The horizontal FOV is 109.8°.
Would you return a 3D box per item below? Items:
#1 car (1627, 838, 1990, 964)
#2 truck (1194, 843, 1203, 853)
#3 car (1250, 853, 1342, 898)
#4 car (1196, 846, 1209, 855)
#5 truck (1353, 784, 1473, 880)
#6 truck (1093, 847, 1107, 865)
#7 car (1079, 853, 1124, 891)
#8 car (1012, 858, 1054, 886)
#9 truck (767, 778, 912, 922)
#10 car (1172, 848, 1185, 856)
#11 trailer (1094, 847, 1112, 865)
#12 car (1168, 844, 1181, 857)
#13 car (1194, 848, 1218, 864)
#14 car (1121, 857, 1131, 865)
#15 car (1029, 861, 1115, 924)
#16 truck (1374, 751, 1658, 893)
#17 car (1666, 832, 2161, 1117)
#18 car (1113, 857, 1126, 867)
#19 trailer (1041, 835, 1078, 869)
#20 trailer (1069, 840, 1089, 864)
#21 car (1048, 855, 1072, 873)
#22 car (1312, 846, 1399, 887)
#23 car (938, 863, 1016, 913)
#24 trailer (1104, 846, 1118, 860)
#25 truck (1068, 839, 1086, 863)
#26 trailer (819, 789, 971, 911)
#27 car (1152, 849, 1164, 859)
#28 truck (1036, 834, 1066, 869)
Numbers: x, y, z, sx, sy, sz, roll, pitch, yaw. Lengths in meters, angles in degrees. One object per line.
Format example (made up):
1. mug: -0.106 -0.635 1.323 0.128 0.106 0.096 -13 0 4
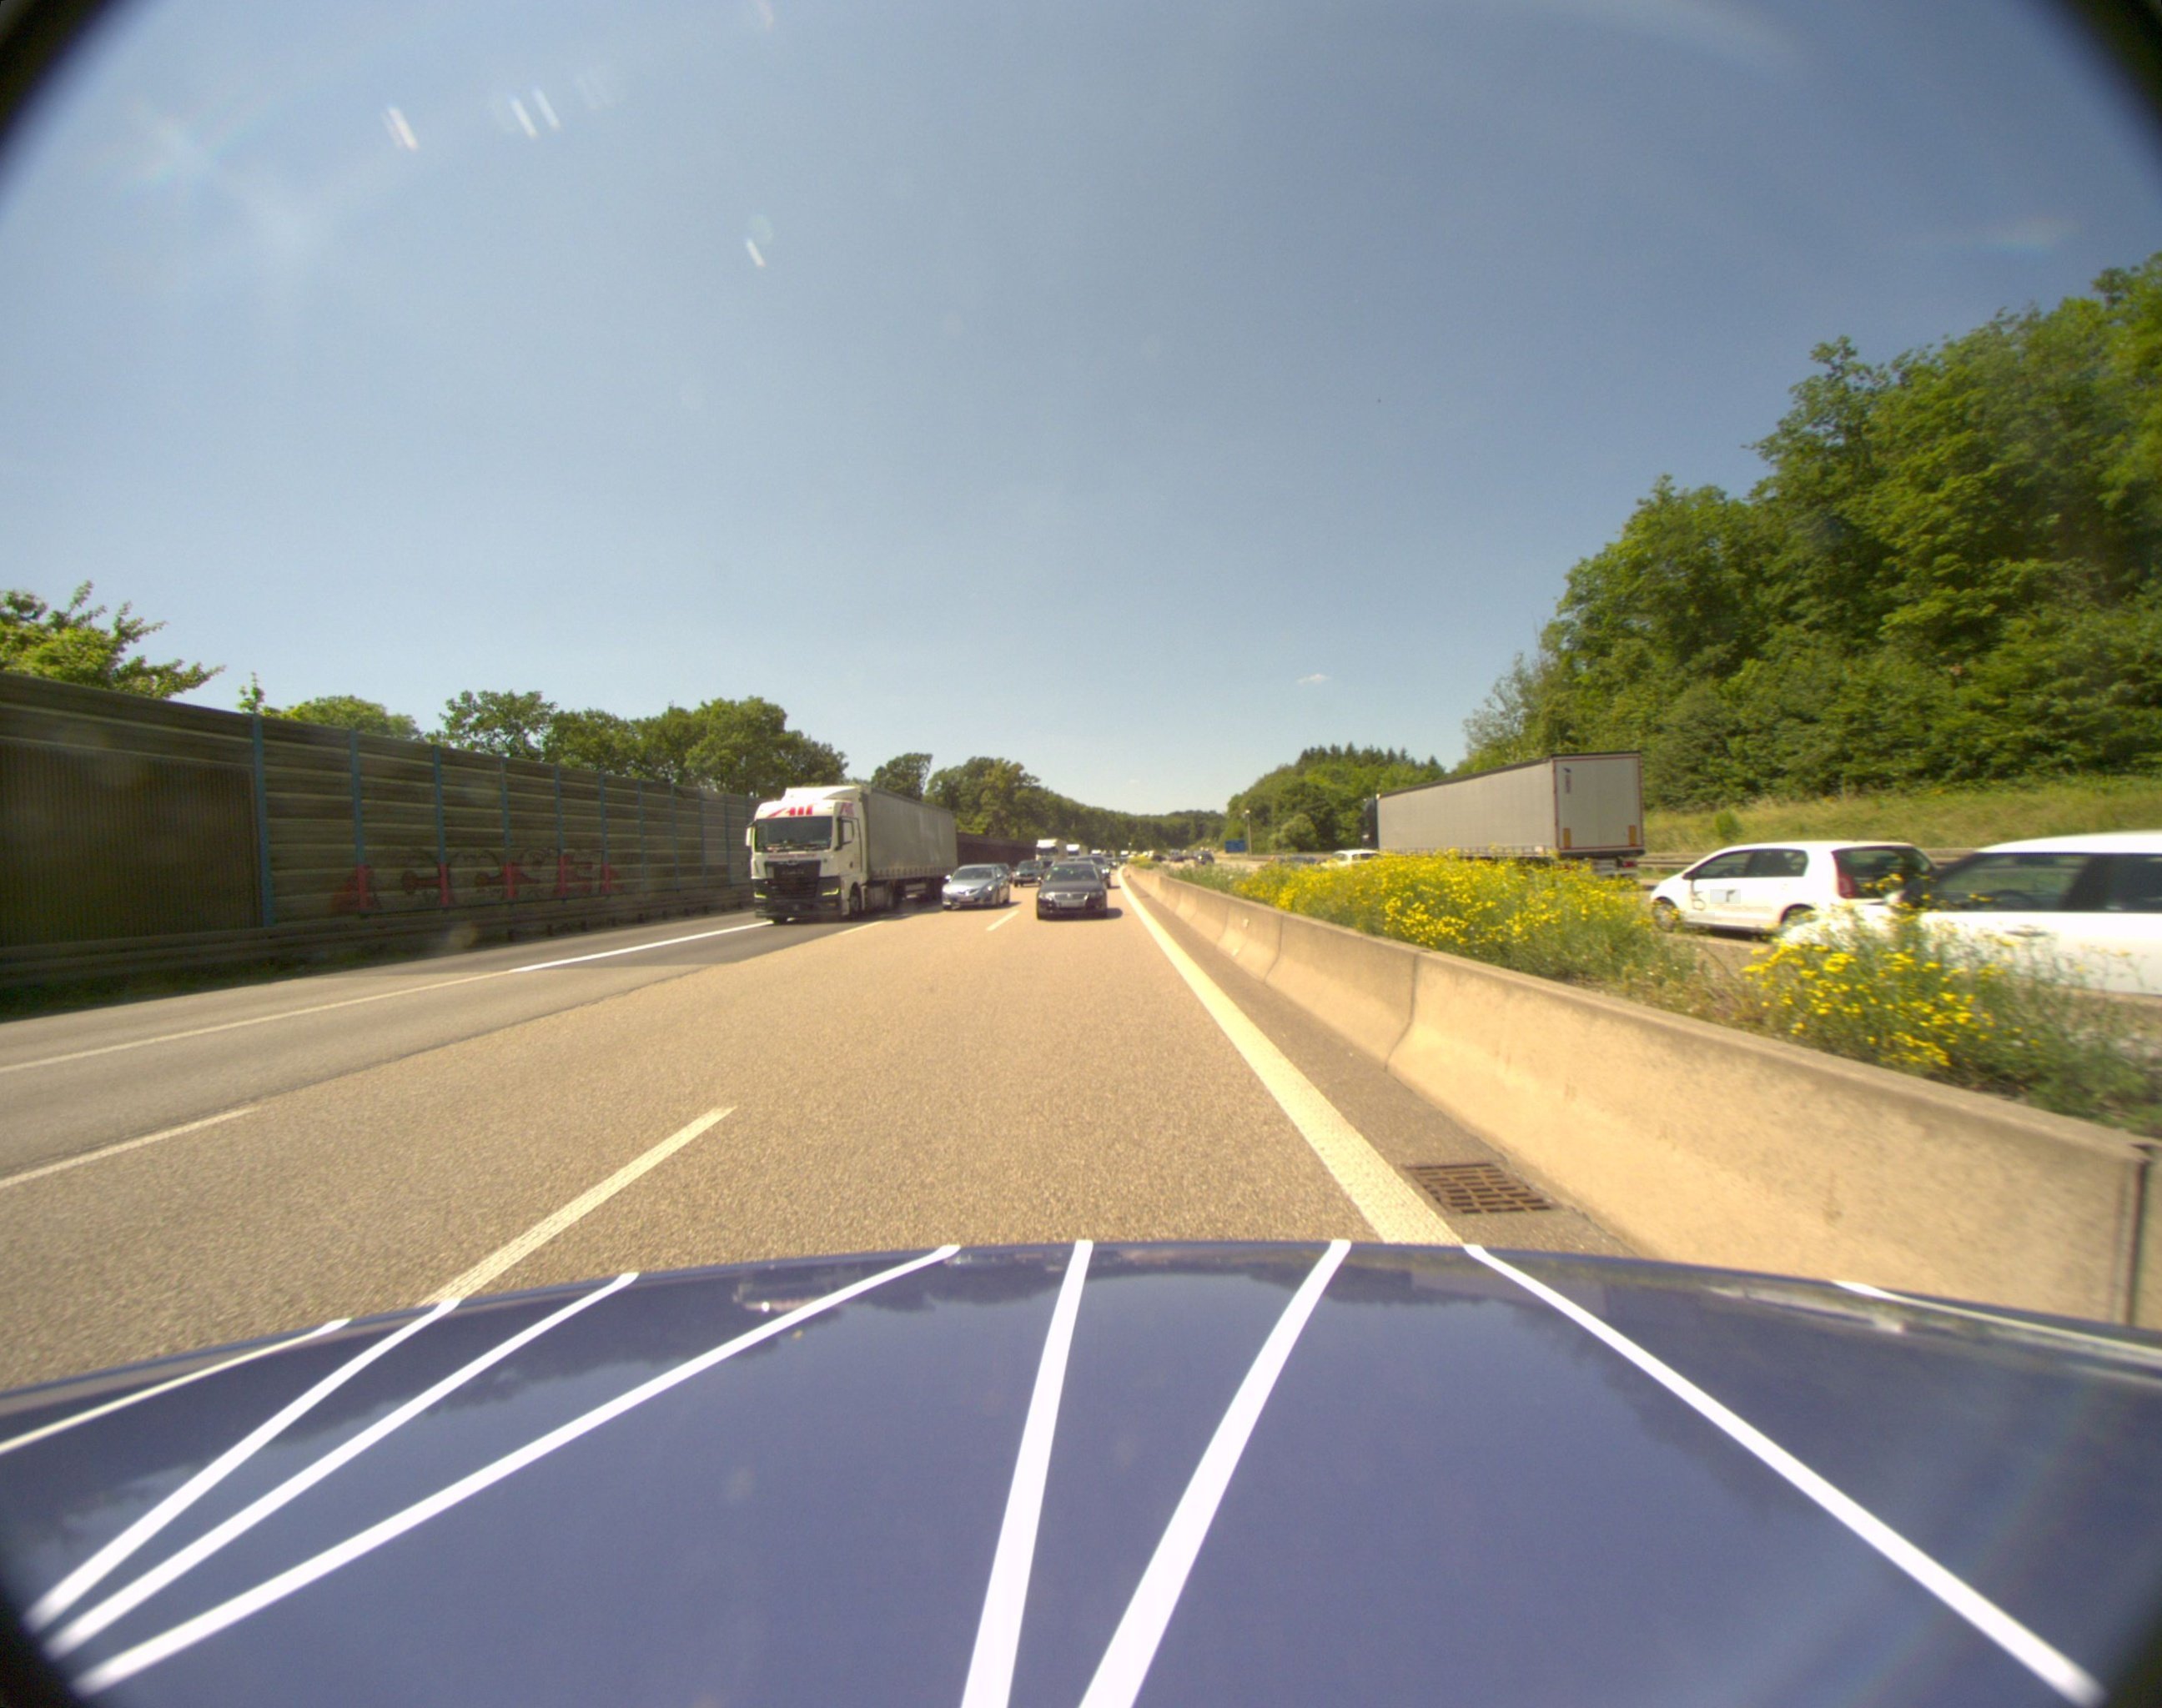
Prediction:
1. car: 10.334 0.580 11.281 1.679 1.489 3.882 -2 0 1
2. truck: 40.719 -2.091 263.160 2.741 3.454 7.318 -2 0 7
3. car: 7.255 0.671 26.119 1.998 1.333 4.247 -2 0 1
4. car: 21.534 -0.548 134.875 1.844 1.444 4.001 -2 0 2
5. truck: 15.028 -0.920 34.934 2.836 3.916 6.007 -2 0 1
6. truck: 4.732 0.489 191.046 2.852 4.381 5.242 -2 0 8
7. car: 1.041 0.834 36.712 1.998 1.641 4.000 -2 0 2
8. car: -2.788 1.041 45.228 1.907 1.550 4.001 -2 0 4
9. truck: -7.592 -0.127 24.721 2.604 4.066 5.553 -2 1 2
10. car: 17.864 -0.419 139.375 1.817 1.393 4.272 -2 0 2
11. trailer: 5.824 0.481 198.795 2.852 4.391 13.035 -2 0 8
12. car: 20.614 -0.803 167.533 2.221 2.685 6.063 -2 0 3
13. car: 13.781 0.172 83.813 1.998 1.618 4.474 -2 0 2
14. car: 10.225 1.645 172.041 1.997 1.641 4.002 -2 0 6
15. car: -0.138 0.953 20.285 1.907 1.410 4.001 -2 0 4
16. truck: 14.896 -0.910 28.269 2.836 3.916 13.745 -2 0 1
17. car: 6.731 0.623 5.157 1.943 1.494 4.659 -2 0 1
18. car: 7.215 1.475 141.513 1.997 1.641 4.002 -2 0 6
19. trailer: -2.827 -0.289 104.134 2.820 4.190 13.472 -2 0 7
20. trailer: -0.275 -0.336 140.092 2.541 4.149 10.180 -2 0 5
21. car: -1.956 0.937 72.460 1.998 1.641 4.000 -2 0 1
22. car: 10.968 0.464 30.732 1.998 1.489 4.247 -2 0 1
23. car: -3.431 1.091 25.793 1.860 1.426 4.177 -2 0 2
24. trailer: 8.935 -0.200 225.682 3.153 4.061 6.187 -2 0 11
25. truck: -0.653 -0.486 135.468 2.545 4.149 4.747 -2 0 5
26. trailer: -7.317 -0.162 32.707 2.604 4.066 13.592 -2 0 2
27. car: 14.818 0.035 146.407 1.998 1.713 4.357 -2 0 2
28. truck: -3.750 -0.285 97.119 2.810 4.190 5.424 -2 0 7
